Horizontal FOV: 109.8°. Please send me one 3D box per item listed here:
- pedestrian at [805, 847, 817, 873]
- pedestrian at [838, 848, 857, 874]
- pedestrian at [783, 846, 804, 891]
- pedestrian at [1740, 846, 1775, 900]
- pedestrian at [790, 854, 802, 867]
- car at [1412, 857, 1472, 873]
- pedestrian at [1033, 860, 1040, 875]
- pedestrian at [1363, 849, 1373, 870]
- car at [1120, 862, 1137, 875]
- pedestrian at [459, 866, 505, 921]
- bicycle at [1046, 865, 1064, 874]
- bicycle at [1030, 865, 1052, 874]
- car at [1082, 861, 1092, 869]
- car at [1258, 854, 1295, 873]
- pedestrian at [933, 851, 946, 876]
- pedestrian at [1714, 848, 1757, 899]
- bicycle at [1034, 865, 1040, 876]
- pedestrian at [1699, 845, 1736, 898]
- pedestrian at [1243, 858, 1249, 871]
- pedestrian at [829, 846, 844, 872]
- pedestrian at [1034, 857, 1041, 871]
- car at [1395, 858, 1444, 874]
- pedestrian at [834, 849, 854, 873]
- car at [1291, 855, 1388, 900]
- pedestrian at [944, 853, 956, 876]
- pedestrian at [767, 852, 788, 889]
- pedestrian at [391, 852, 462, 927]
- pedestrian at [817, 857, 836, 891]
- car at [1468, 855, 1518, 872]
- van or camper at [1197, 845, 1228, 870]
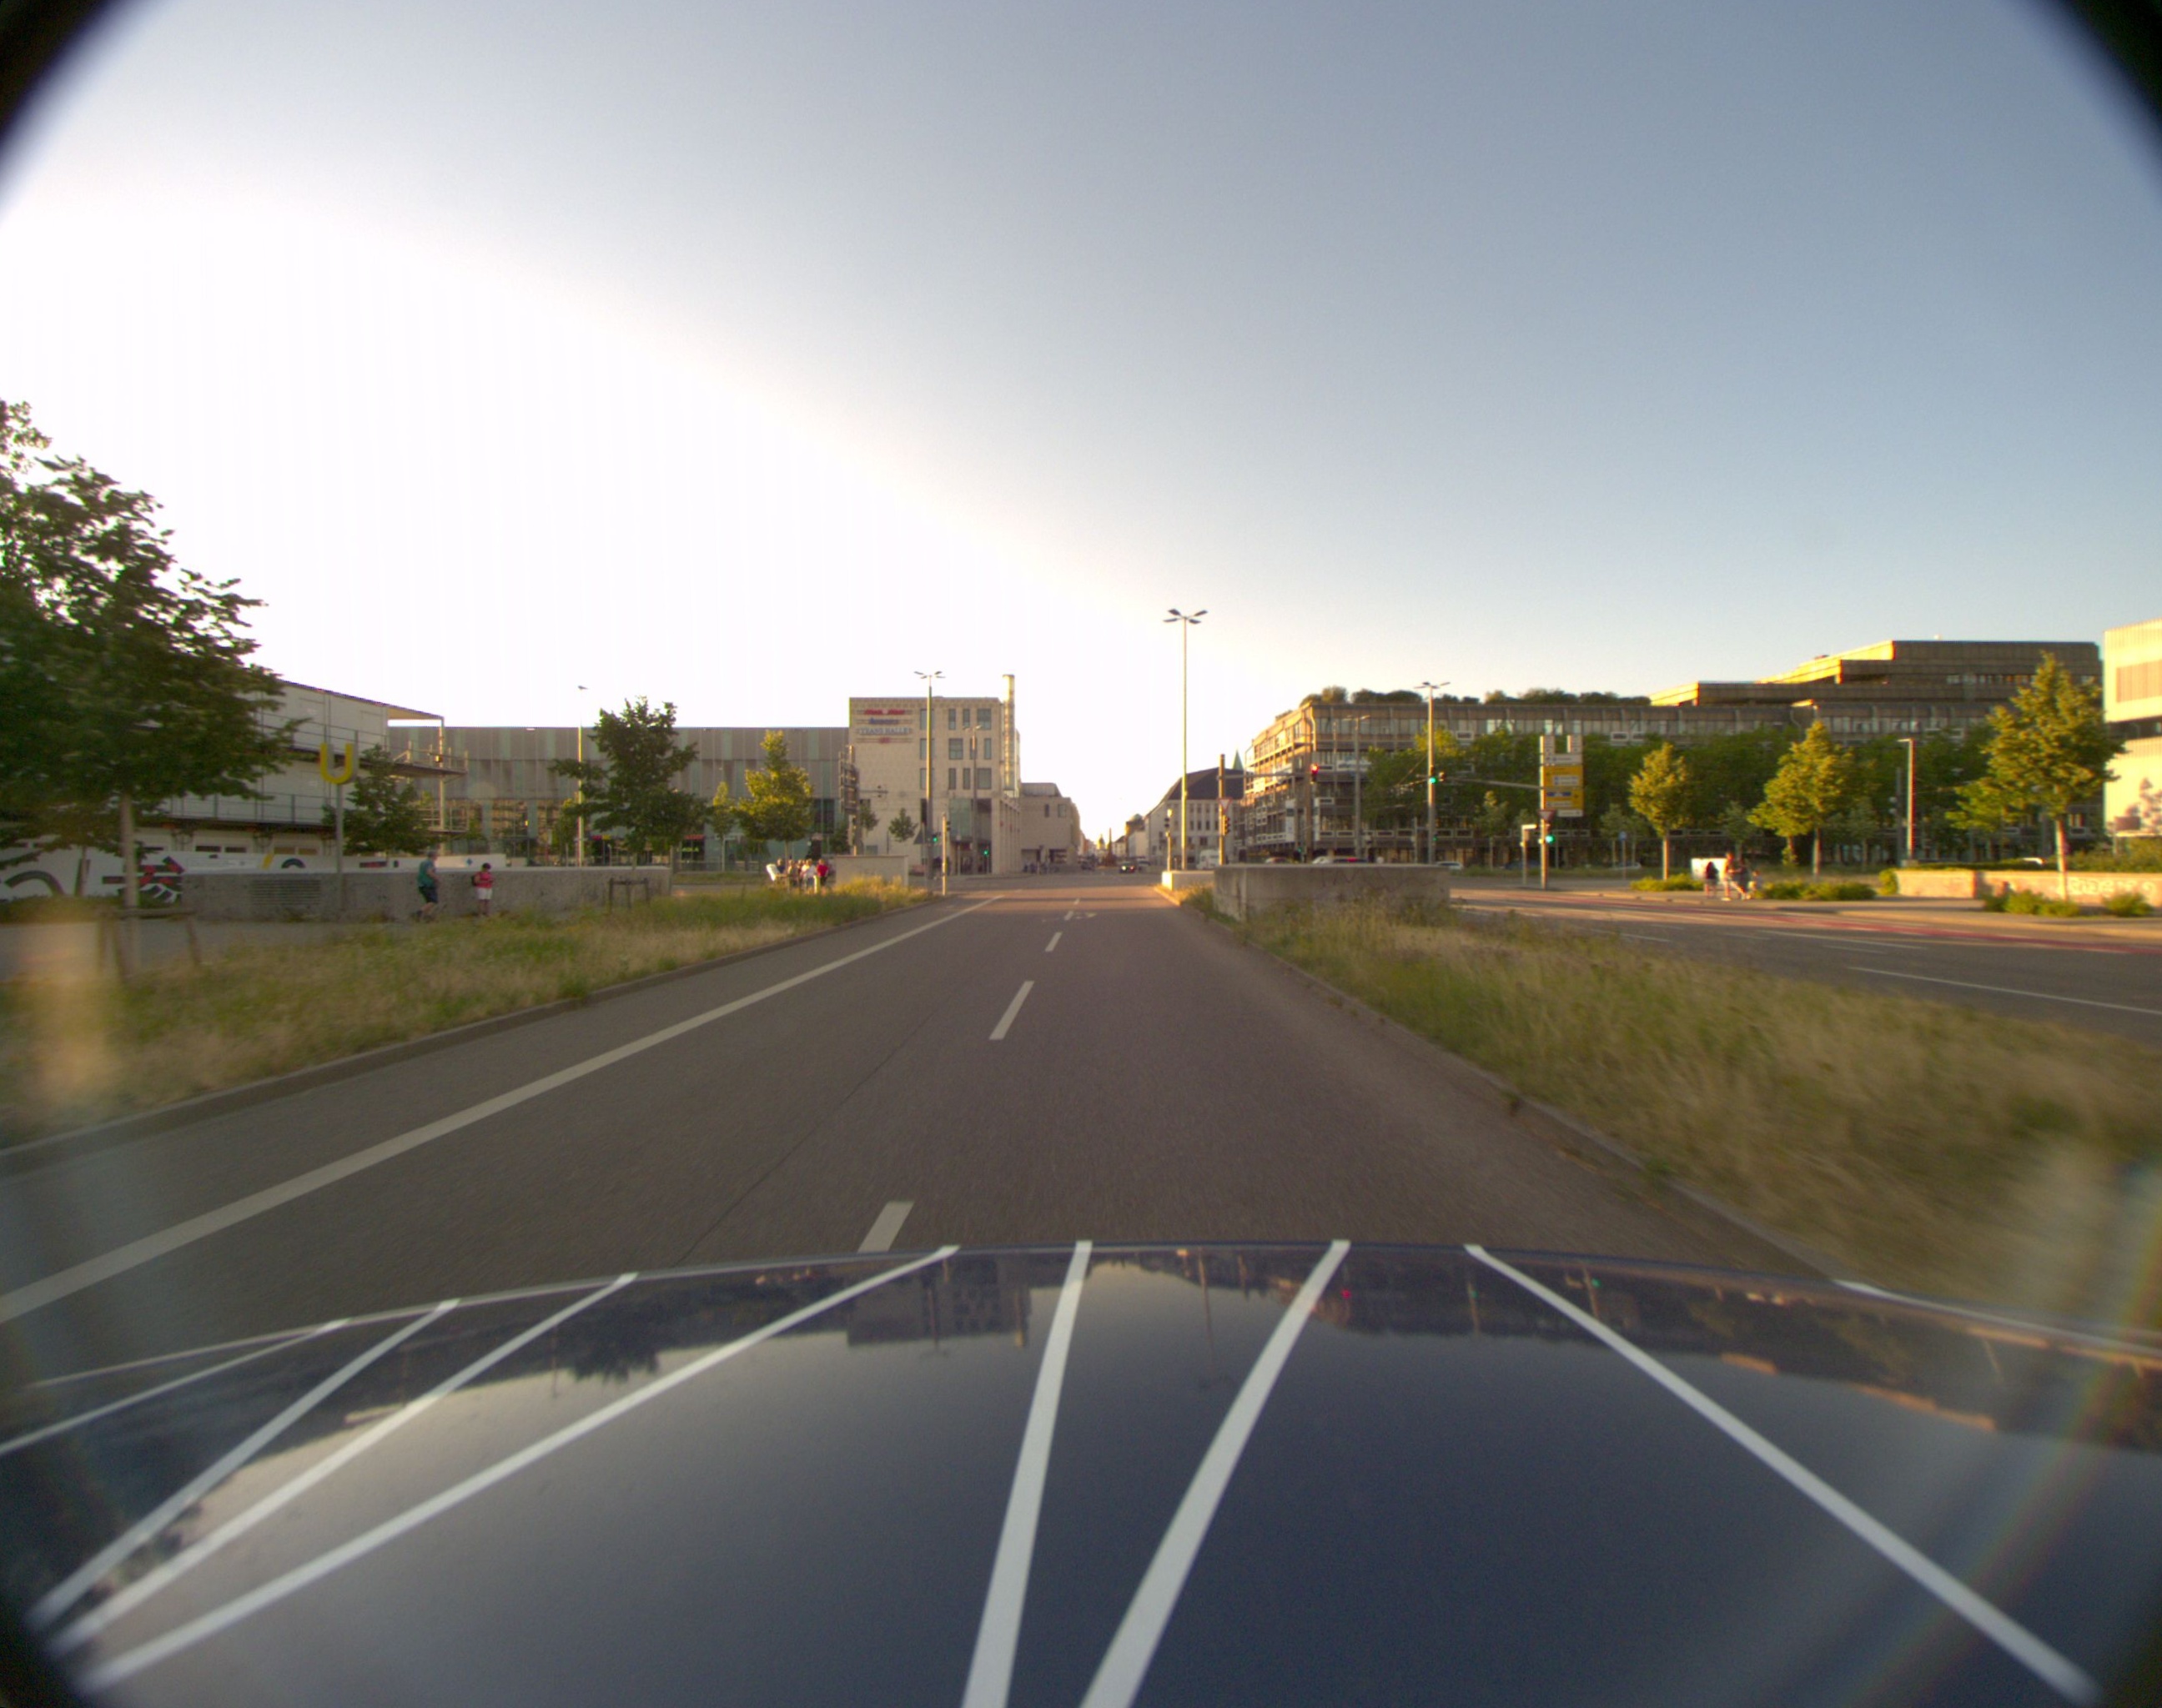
[{"bbox_3d":[-19.498,0.439,54.854,0.604,1.843,0.586,0,1,4],"label":"pedestrian"},{"bbox_3d":[-17.331,0.499,56.397,0.892,1.843,1.007,3,2,13],"label":"pedestrian"},{"bbox_3d":[-12.538,0.624,33.195,0.644,1.922,0.619,0,1,3],"label":"pedestrian"},{"bbox_3d":[24.414,0.675,27.440,0.661,1.922,0.648,0,0,3],"label":"pedestrian"},{"bbox_3d":[-20.622,0.485,54.927,0.650,0.957,0.654,0,0,-4],"label":"pedestrian"},{"bbox_3d":[36.717,1.147,77.336,5.160,1.575,2.000,0,0,1],"label":"car"},{"bbox_3d":[-5.188,1.582,88.490,0.764,1.696,0.834,0,0,-1],"label":"pedestrian"},{"bbox_3d":[25.512,0.479,67.636,0.644,1.920,0.681,0,1,-2],"label":"pedestrian"},{"bbox_3d":[6.192,1.899,99.078,2.071,1.641,4.000,0,1,2],"label":"car"},{"bbox_3d":[-16.596,1.090,21.060,0.762,1.481,0.645,0,-1,2],"label":"pedestrian"},{"bbox_3d":[-3.704,2.196,108.743,2.507,1.316,0.619,0,1,1],"label":"bicycle"},{"bbox_3d":[-5.189,2.053,98.986,2.804,1.208,0.765,0,-1,11],"label":"bicycle"},{"bbox_3d":[1.291,2.441,167.177,2.071,1.641,4.001,0,-1,2],"label":"car"},{"bbox_3d":[15.727,0.737,61.195,1.640,1.518,3.998,0,0,-5],"label":"car"},{"bbox_3d":[-10.000,0.670,53.681,0.644,1.720,0.871,0,1,3],"label":"pedestrian"},{"bbox_3d":[23.645,0.690,27.455,0.874,1.826,0.776,0,1,2],"label":"pedestrian"},{"bbox_3d":[-5.625,2.063,96.813,0.619,1.316,2.509,0,0,0],"label":"bicycle"},{"bbox_3d":[23.734,0.659,28.331,0.632,1.921,0.776,-3,-1,2],"label":"pedestrian"},{"bbox_3d":[22.916,1.481,105.672,0.651,1.702,0.650,0,0,3],"label":"pedestrian"},{"bbox_3d":[-18.260,0.362,56.775,0.896,1.843,0.724,1,2,-32],"label":"pedestrian"},{"bbox_3d":[-5.077,1.165,89.553,0.764,1.696,0.834,0,0,0],"label":"pedestrian"},{"bbox_3d":[35.805,1.266,80.507,4.398,1.641,1.858,0,-1,-1],"label":"car"},{"bbox_3d":[-17.213,0.489,55.243,0.868,1.714,1.009,3,2,27],"label":"pedestrian"},{"bbox_3d":[8.912,0.757,26.635,1.891,1.457,4.537,0,0,0],"label":"car"},{"bbox_3d":[-9.239,0.743,53.671,0.644,1.650,0.871,0,1,3],"label":"pedestrian"},{"bbox_3d":[-13.975,0.760,35.020,0.644,1.702,0.762,0,0,-1],"label":"pedestrian"},{"bbox_3d":[-16.163,0.858,18.787,0.816,1.804,1.047,0,0,7],"label":"pedestrian"},{"bbox_3d":[-12.911,1.032,38.549,0.644,1.702,0.871,0,0,0],"label":"pedestrian"},{"bbox_3d":[41.891,0.990,77.338,3.997,1.641,2.073,0,0,-1],"label":"car"},{"bbox_3d":[14.619,0.457,84.633,2.232,2.650,6.163,0,-1,-2],"label":"van or camper"}]
